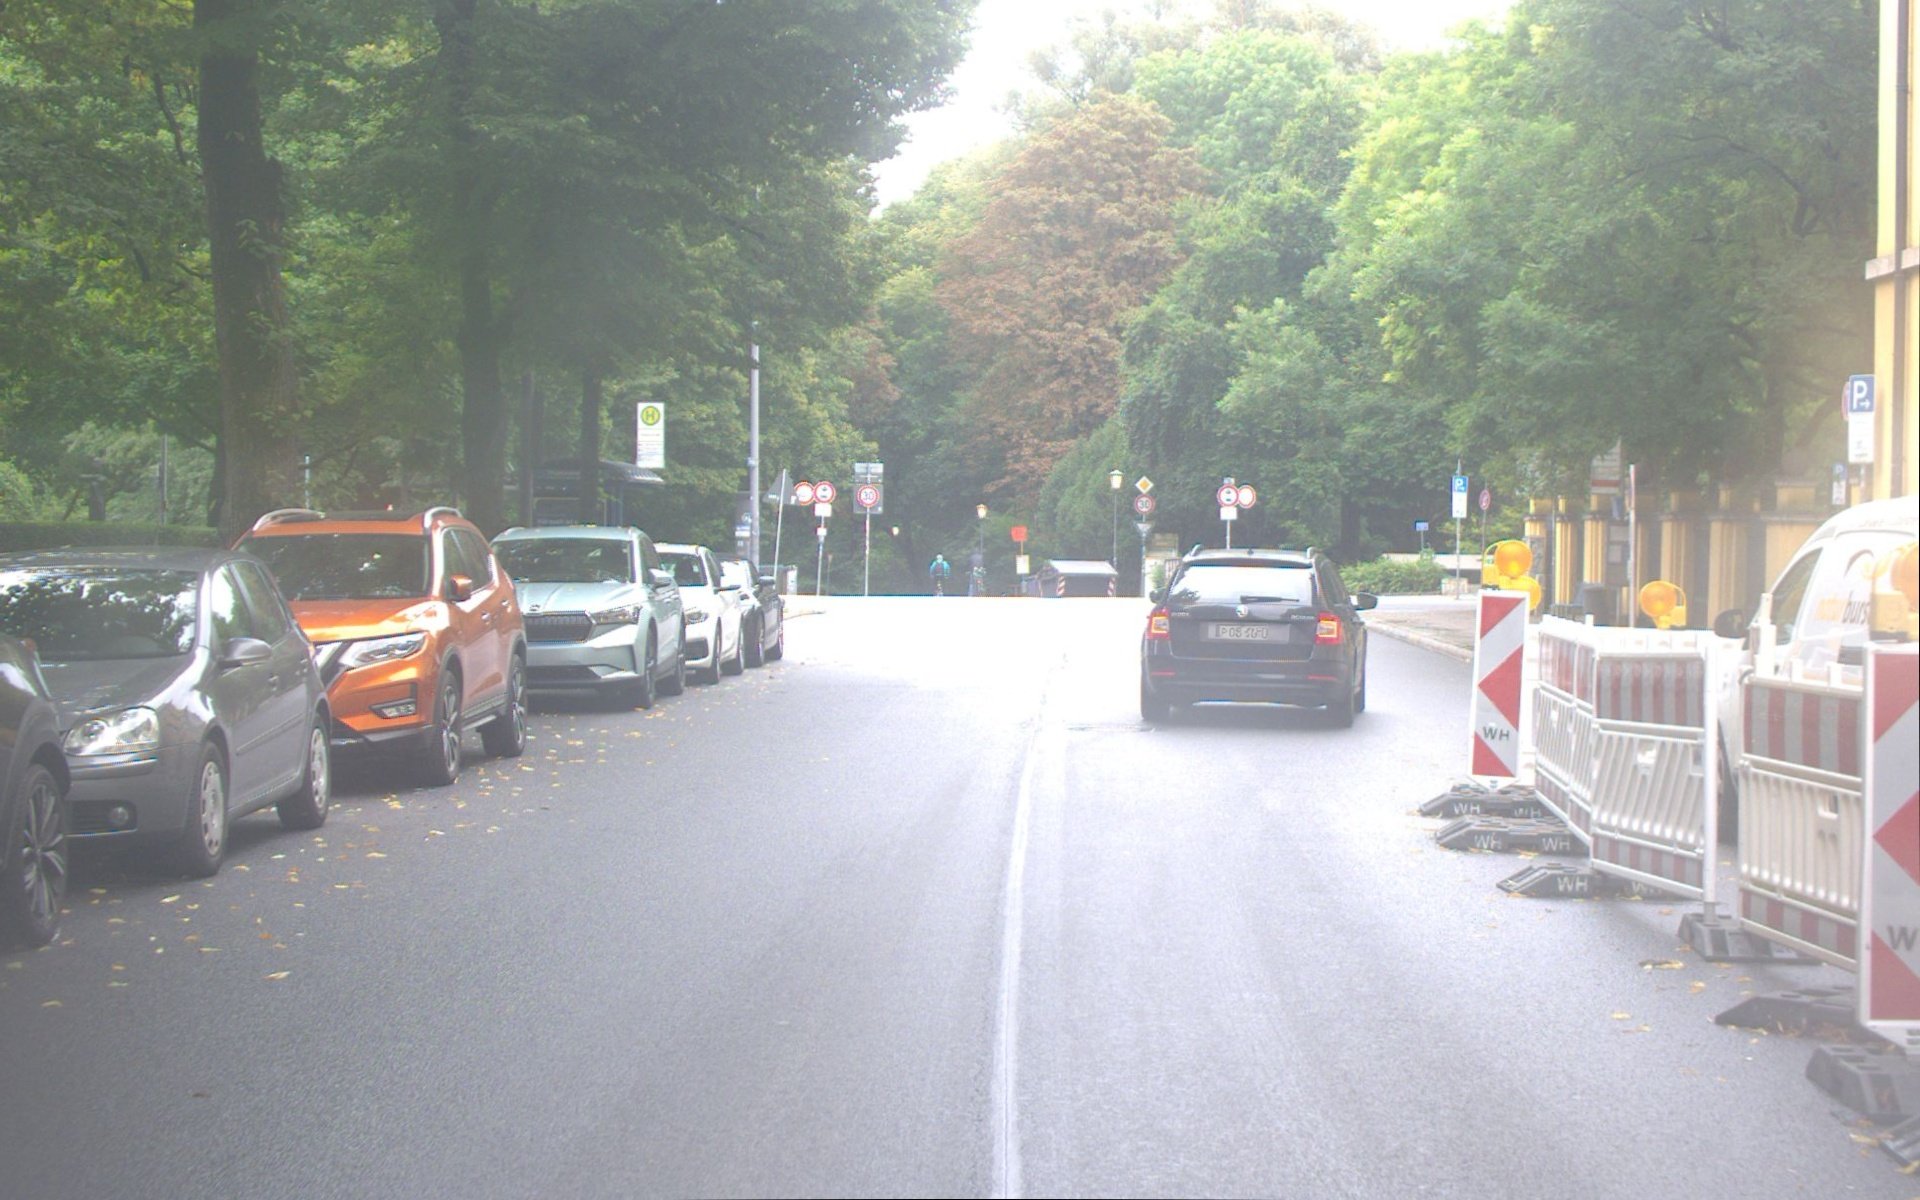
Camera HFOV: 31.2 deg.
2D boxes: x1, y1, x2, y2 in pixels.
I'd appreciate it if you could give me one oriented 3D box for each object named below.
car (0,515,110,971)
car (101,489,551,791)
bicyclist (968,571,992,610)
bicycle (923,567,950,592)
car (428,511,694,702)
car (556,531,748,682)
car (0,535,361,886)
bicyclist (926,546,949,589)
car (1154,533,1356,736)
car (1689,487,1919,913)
[{"bbox_3d":[-4.196,0.501,11.053,1.786,1.569,4.486,1,1,0],"label":"car"},{"bbox_3d":[-3.954,0.194,22.255,1.873,1.722,4.641,1,1,2],"label":"car"},{"bbox_3d":[0.615,-0.292,105.655,0.680,1.183,0.481,1,1,-5],"label":"bicyclist"},{"bbox_3d":[-0.817,-0.715,119.604,0.679,0.827,2.110,1,0,-8],"label":"bicycle"},{"bbox_3d":[-3.553,0.019,31.368,1.815,1.596,4.513,1,1,1],"label":"car"},{"bbox_3d":[-3.213,0.035,36.519,1.577,1.492,4.199,1,1,1],"label":"car"},{"bbox_3d":[-4.110,0.418,16.413,1.727,1.418,4.251,1,1,0],"label":"car"},{"bbox_3d":[-0.802,-1.138,119.661,0.680,1.499,0.901,0,1,-7],"label":"bicyclist"},{"bbox_3d":[2.485,0.242,29.261,1.577,1.578,4.044,1,1,4],"label":"car"},{"bbox_3d":[4.790,0.411,16.232,1.739,1.744,4.356,1,0,0],"label":"car"}]
